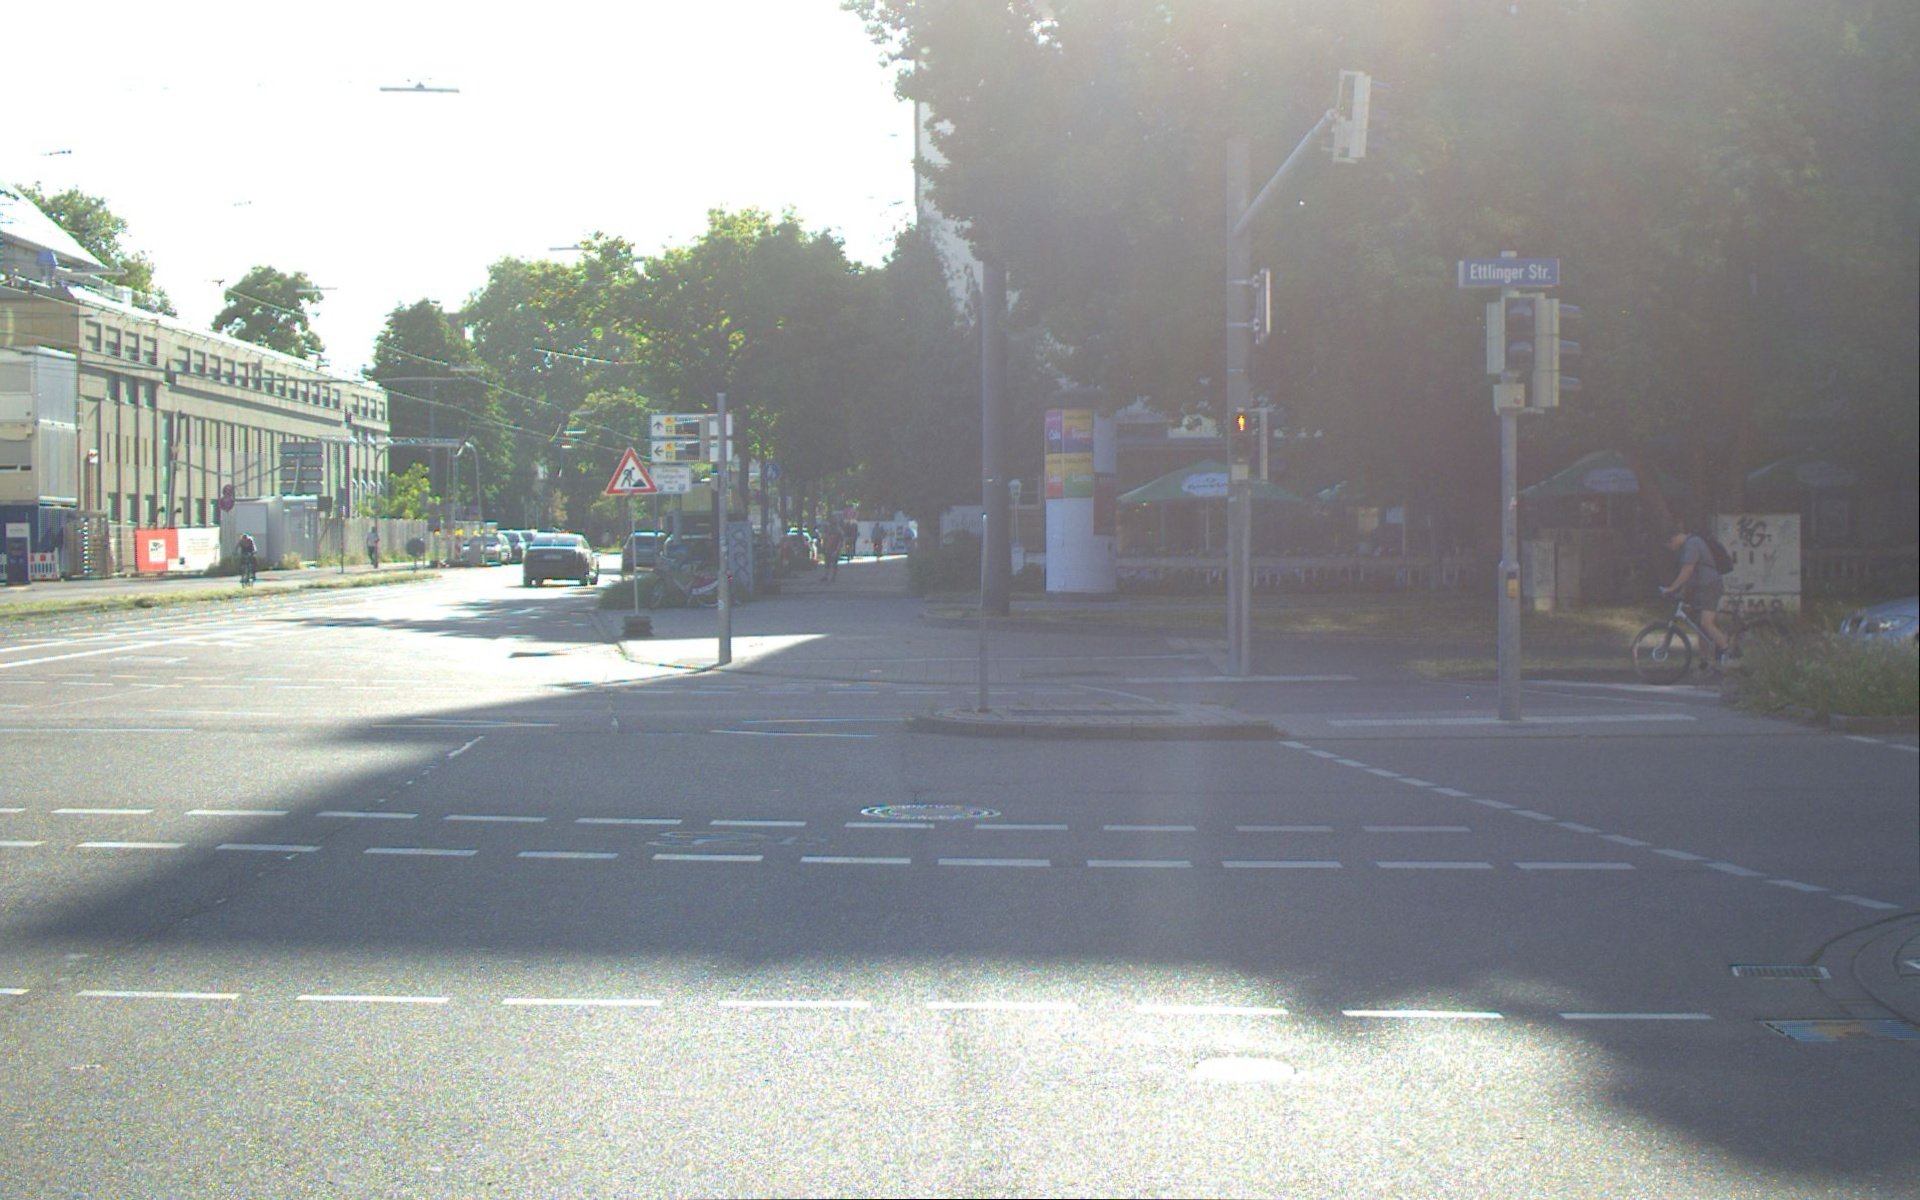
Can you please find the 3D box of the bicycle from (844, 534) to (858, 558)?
[{"bbox_3d":[-4.803,-2.373,151.091,0.575,1.073,1.831,0,1,-1],"label":"bicycle"}]

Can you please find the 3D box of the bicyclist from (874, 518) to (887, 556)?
[{"bbox_3d":[-3.495,-2.762,151.258,0.569,1.685,0.700,0,1,-1],"label":"bicyclist"}]

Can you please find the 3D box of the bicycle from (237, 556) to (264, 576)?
[{"bbox_3d":[-19.364,-0.928,93.849,0.501,0.513,1.258,1,1,-1],"label":"bicycle"}]

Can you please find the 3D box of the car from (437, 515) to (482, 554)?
[{"bbox_3d":[-22.775,-2.969,156.442,1.692,1.712,4.248,1,1,-4],"label":"car"}]

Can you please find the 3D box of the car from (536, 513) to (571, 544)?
[{"bbox_3d":[-23.014,-4.036,194.687,1.692,1.712,4.248,1,1,-4],"label":"car"}]

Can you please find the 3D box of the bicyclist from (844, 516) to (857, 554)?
[{"bbox_3d":[-4.814,-2.847,151.110,0.569,1.685,0.700,0,1,-1],"label":"bicyclist"}]

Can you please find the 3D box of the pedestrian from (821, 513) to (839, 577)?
[{"bbox_3d":[-3.689,-1.558,97.705,0.463,1.807,0.503,0,1,-5],"label":"pedestrian"}]

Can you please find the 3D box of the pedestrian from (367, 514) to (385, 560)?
[{"bbox_3d":[-25.452,-2.741,149.787,0.674,2.007,0.751,1,0,-3],"label":"pedestrian"}]

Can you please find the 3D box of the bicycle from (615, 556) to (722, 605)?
[{"bbox_3d":[-5.728,-0.383,67.478,2.018,0.888,0.650,-2,0,27],"label":"bicycle"}]

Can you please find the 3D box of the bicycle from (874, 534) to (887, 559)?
[{"bbox_3d":[-3.485,-2.357,151.268,0.575,1.073,1.831,0,1,-1],"label":"bicycle"}]

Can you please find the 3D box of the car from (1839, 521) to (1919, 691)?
[{"bbox_3d":[10.757,0.023,33.409,3.993,1.605,1.650,-1,1,-1],"label":"car"}]

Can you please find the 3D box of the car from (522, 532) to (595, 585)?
[{"bbox_3d":[-11.332,-1.176,97.238,1.660,1.450,4.432,1,1,-1],"label":"car"}]

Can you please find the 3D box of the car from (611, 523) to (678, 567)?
[{"bbox_3d":[-11.959,-2.088,130.566,1.892,1.560,4.808,3,1,1],"label":"car"}]

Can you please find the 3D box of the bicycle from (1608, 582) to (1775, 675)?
[{"bbox_3d":[7.729,0.294,36.354,1.667,0.960,0.533,0,1,5],"label":"bicycle"}]

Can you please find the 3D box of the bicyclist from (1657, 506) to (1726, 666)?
[{"bbox_3d":[7.730,-0.147,36.337,0.643,1.677,0.507,0,1,5],"label":"bicyclist"}]

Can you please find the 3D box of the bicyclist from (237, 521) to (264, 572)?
[{"bbox_3d":[-19.368,-1.464,93.862,0.596,1.372,0.638,1,0,-2],"label":"bicyclist"}]
